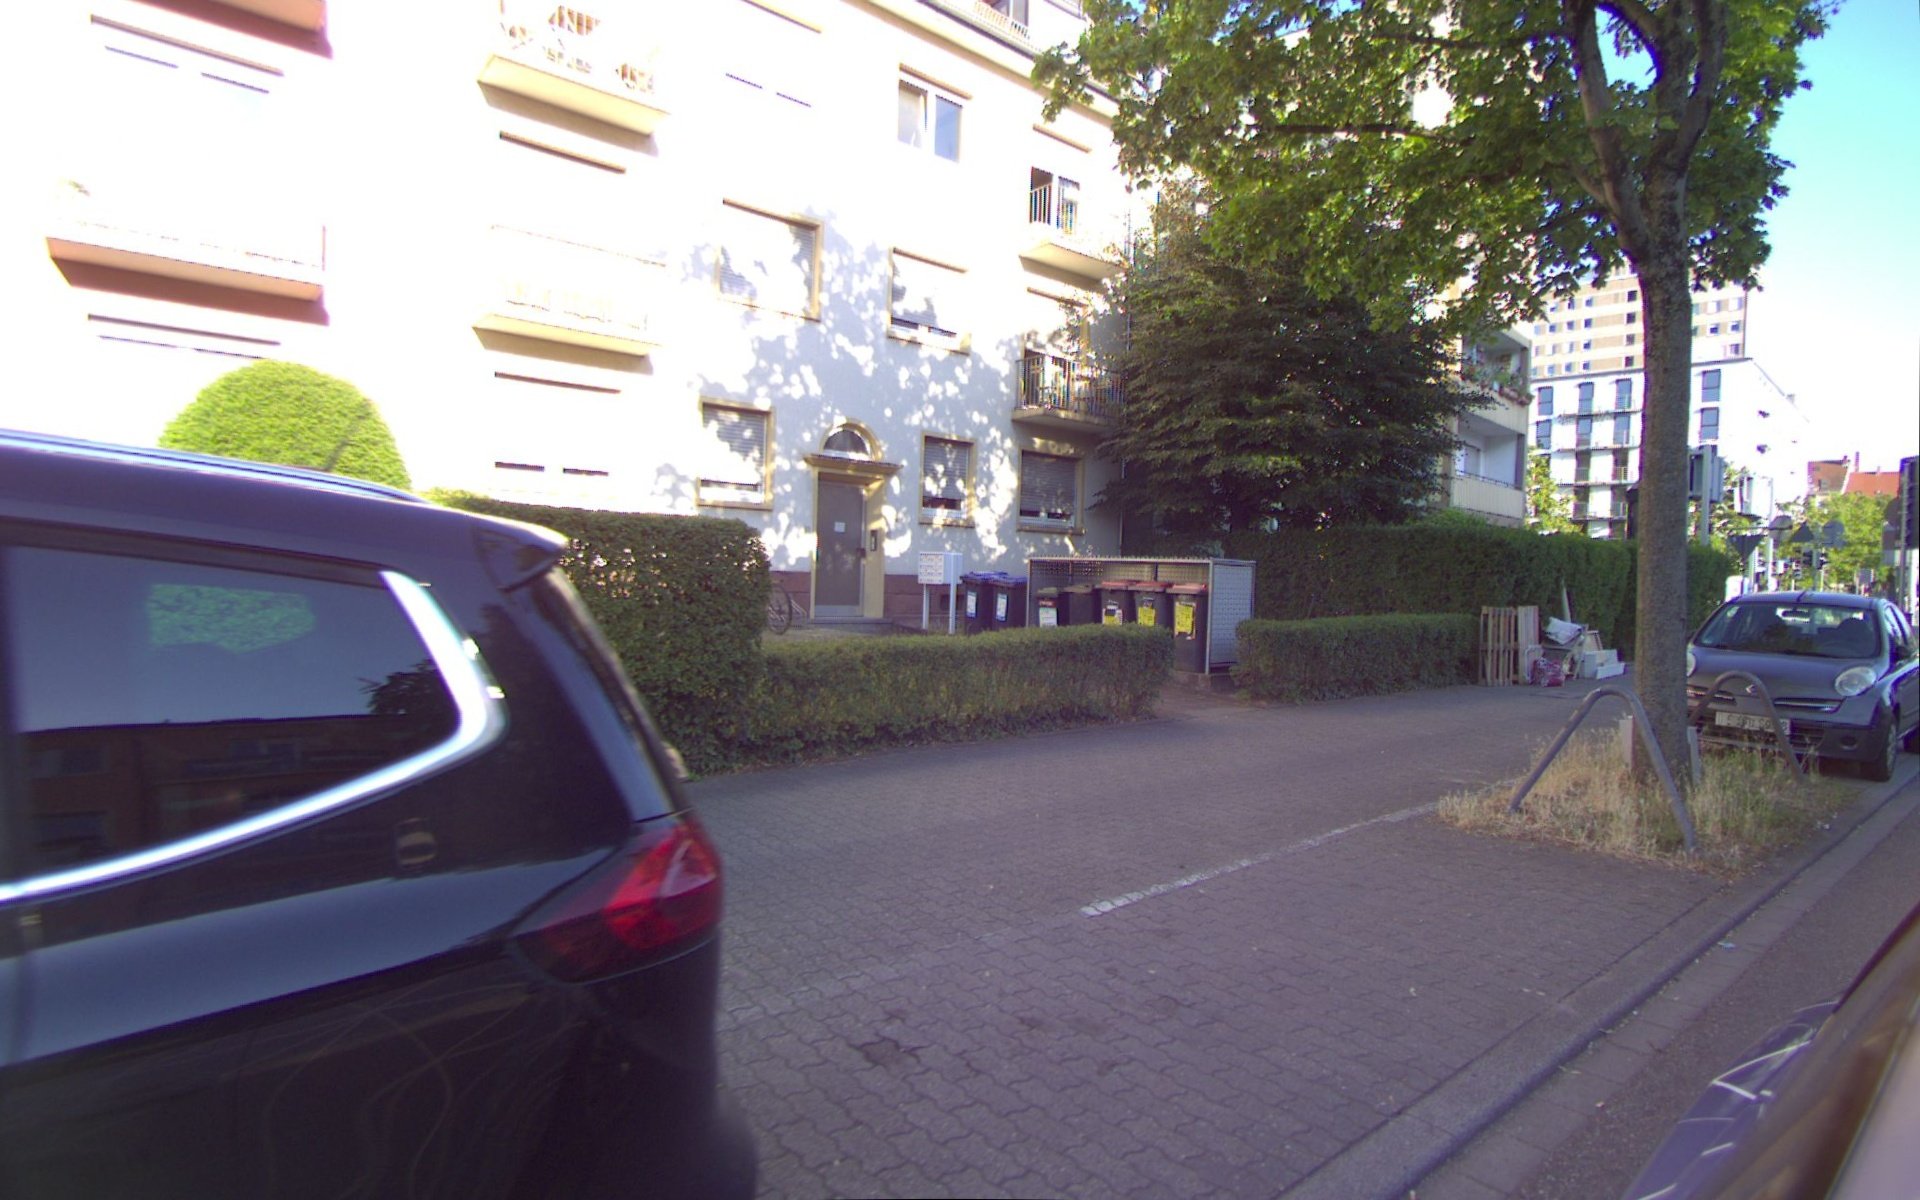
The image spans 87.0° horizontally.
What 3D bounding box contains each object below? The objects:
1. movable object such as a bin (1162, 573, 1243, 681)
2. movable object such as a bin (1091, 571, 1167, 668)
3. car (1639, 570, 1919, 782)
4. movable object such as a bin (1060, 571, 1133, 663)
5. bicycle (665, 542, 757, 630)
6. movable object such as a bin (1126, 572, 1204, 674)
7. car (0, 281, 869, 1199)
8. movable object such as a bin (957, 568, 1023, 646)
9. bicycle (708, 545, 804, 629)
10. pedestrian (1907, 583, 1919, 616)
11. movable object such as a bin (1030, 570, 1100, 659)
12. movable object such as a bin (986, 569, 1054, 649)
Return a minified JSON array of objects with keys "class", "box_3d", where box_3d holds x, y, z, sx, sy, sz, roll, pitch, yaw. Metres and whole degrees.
[{"class":"movable object such as a bin","box_3d":[2.954,0.314,12.336,0.814,1.255,0.554,1,1,-40]},{"class":"movable object such as a bin","box_3d":[2.228,0.247,13.317,0.814,1.217,0.554,1,1,-40]},{"class":"car","box_3d":[7.973,0.566,9.476,3.581,1.570,1.736,1,2,-40]},{"class":"movable object such as a bin","box_3d":[1.864,0.219,13.789,0.814,1.209,0.554,1,1,-40]},{"class":"bicycle","box_3d":[-3.209,-0.190,12.987,0.419,1.069,1.522,1,1,-44]},{"class":"movable object such as a bin","box_3d":[2.600,0.280,12.840,0.814,1.236,0.554,1,1,-40]},{"class":"car","box_3d":[-2.311,0.518,0.787,4.215,1.671,1.736,0,2,-40]},{"class":"movable object such as a bin","box_3d":[0.463,0.097,15.372,0.814,1.137,0.554,1,1,-40]},{"class":"bicycle","box_3d":[-2.750,-0.188,13.553,0.419,1.069,1.649,1,1,-44]},{"class":"pedestrian","box_3d":[55.010,-0.015,58.228,0.493,1.900,0.598,2,1,21]},{"class":"movable object such as a bin","box_3d":[1.482,0.194,14.286,0.814,1.209,0.554,1,1,-40]},{"class":"movable object such as a bin","box_3d":[0.891,0.122,14.926,0.814,1.137,0.554,1,1,-40]}]
